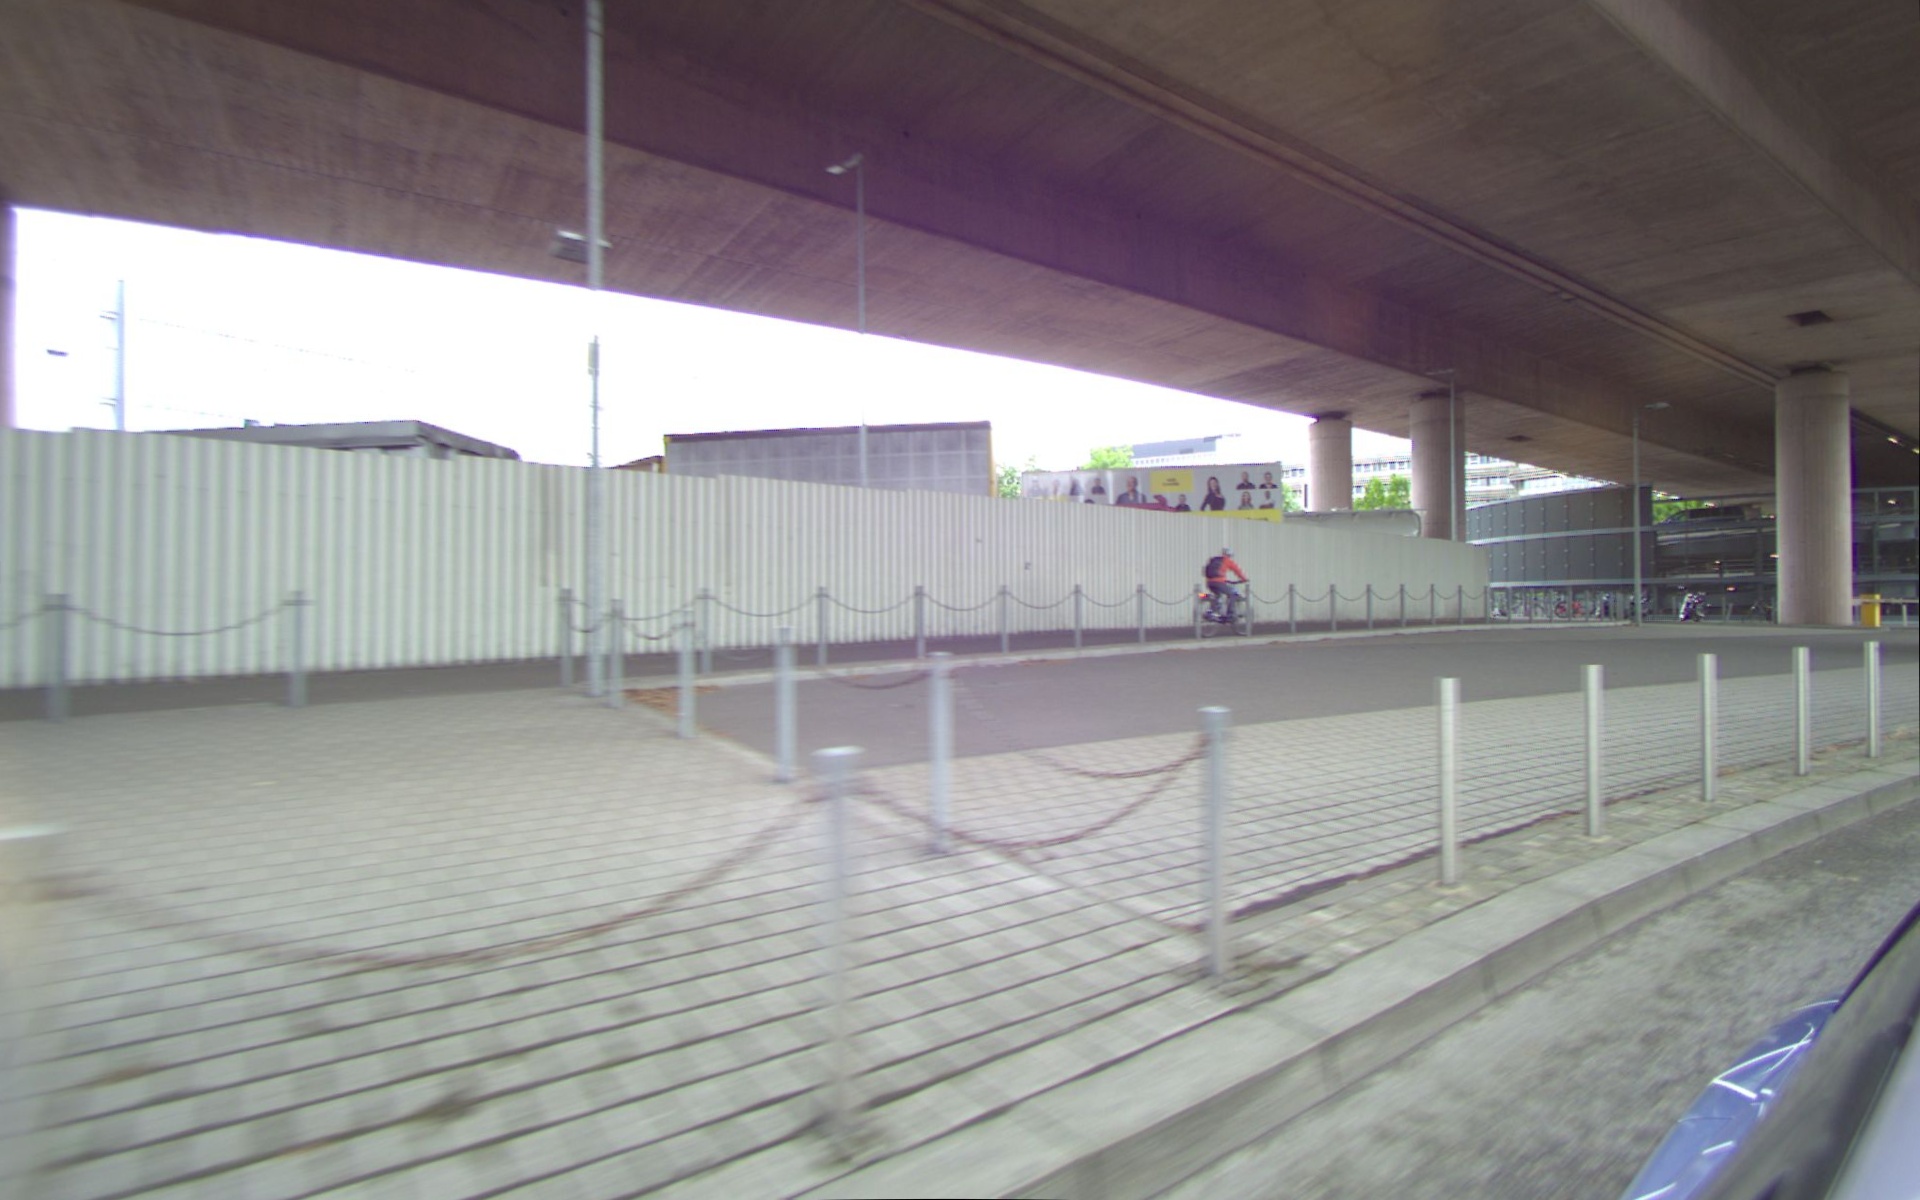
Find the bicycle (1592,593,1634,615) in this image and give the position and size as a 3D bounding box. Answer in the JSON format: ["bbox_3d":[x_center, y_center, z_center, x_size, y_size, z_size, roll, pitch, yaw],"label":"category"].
[{"bbox_3d":[33.419,0.192,51.813,1.782,1.093,0.430,0,-1,44],"label":"bicycle"}]

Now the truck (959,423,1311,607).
[{"bbox_3d":[4.839,-2.377,29.424,9.552,4.985,3.145,0,1,5],"label":"truck"}]

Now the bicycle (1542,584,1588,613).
[{"bbox_3d":[25.715,-0.058,43.080,0.609,1.120,2.327,3,-2,2],"label":"bicycle"}]

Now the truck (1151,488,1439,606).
[{"bbox_3d":[12.745,-2.056,39.394,10.117,4.357,3.009,1,1,6],"label":"truck"}]

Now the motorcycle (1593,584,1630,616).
[{"bbox_3d":[26.352,0.004,40.911,2.287,1.120,0.573,5,-3,-39],"label":"motorcycle"}]

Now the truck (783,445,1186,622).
[{"bbox_3d":[0.615,-1.674,26.242,9.890,4.235,2.894,1,1,6],"label":"truck"}]

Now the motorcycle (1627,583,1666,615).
[{"bbox_3d":[27.022,-0.029,39.827,2.285,1.120,0.544,4,-3,-37],"label":"motorcycle"}]

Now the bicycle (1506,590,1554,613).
[{"bbox_3d":[26.549,0.075,47.174,0.388,1.036,2.064,1,-1,-31],"label":"bicycle"}]

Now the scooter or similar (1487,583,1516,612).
[{"bbox_3d":[25.125,-0.098,46.972,0.534,1.234,1.677,3,-2,5],"label":"scooter or similar"}]

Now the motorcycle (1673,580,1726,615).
[{"bbox_3d":[28.066,-0.079,38.392,2.487,1.250,0.785,2,0,-34],"label":"motorcycle"}]

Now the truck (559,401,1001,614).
[{"bbox_3d":[-3.898,-2.029,23.318,9.552,4.498,3.145,1,1,5],"label":"truck"}]

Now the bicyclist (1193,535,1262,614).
[{"bbox_3d":[5.000,-0.478,18.882,1.048,1.423,0.797,-1,2,-42],"label":"bicyclist"}]

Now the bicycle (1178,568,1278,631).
[{"bbox_3d":[5.034,-0.028,18.926,2.095,1.111,0.803,-1,2,-42],"label":"bicycle"}]

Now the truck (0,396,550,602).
[{"bbox_3d":[-11.723,-1.690,17.007,8.568,2.979,3.144,2,3,7],"label":"truck"}]

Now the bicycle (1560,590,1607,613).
[{"bbox_3d":[27.869,0.063,45.269,0.429,0.995,1.733,1,-1,-38],"label":"bicycle"}]

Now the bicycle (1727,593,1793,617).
[{"bbox_3d":[31.845,0.182,40.309,0.412,0.938,2.013,2,-1,-45],"label":"bicycle"}]
